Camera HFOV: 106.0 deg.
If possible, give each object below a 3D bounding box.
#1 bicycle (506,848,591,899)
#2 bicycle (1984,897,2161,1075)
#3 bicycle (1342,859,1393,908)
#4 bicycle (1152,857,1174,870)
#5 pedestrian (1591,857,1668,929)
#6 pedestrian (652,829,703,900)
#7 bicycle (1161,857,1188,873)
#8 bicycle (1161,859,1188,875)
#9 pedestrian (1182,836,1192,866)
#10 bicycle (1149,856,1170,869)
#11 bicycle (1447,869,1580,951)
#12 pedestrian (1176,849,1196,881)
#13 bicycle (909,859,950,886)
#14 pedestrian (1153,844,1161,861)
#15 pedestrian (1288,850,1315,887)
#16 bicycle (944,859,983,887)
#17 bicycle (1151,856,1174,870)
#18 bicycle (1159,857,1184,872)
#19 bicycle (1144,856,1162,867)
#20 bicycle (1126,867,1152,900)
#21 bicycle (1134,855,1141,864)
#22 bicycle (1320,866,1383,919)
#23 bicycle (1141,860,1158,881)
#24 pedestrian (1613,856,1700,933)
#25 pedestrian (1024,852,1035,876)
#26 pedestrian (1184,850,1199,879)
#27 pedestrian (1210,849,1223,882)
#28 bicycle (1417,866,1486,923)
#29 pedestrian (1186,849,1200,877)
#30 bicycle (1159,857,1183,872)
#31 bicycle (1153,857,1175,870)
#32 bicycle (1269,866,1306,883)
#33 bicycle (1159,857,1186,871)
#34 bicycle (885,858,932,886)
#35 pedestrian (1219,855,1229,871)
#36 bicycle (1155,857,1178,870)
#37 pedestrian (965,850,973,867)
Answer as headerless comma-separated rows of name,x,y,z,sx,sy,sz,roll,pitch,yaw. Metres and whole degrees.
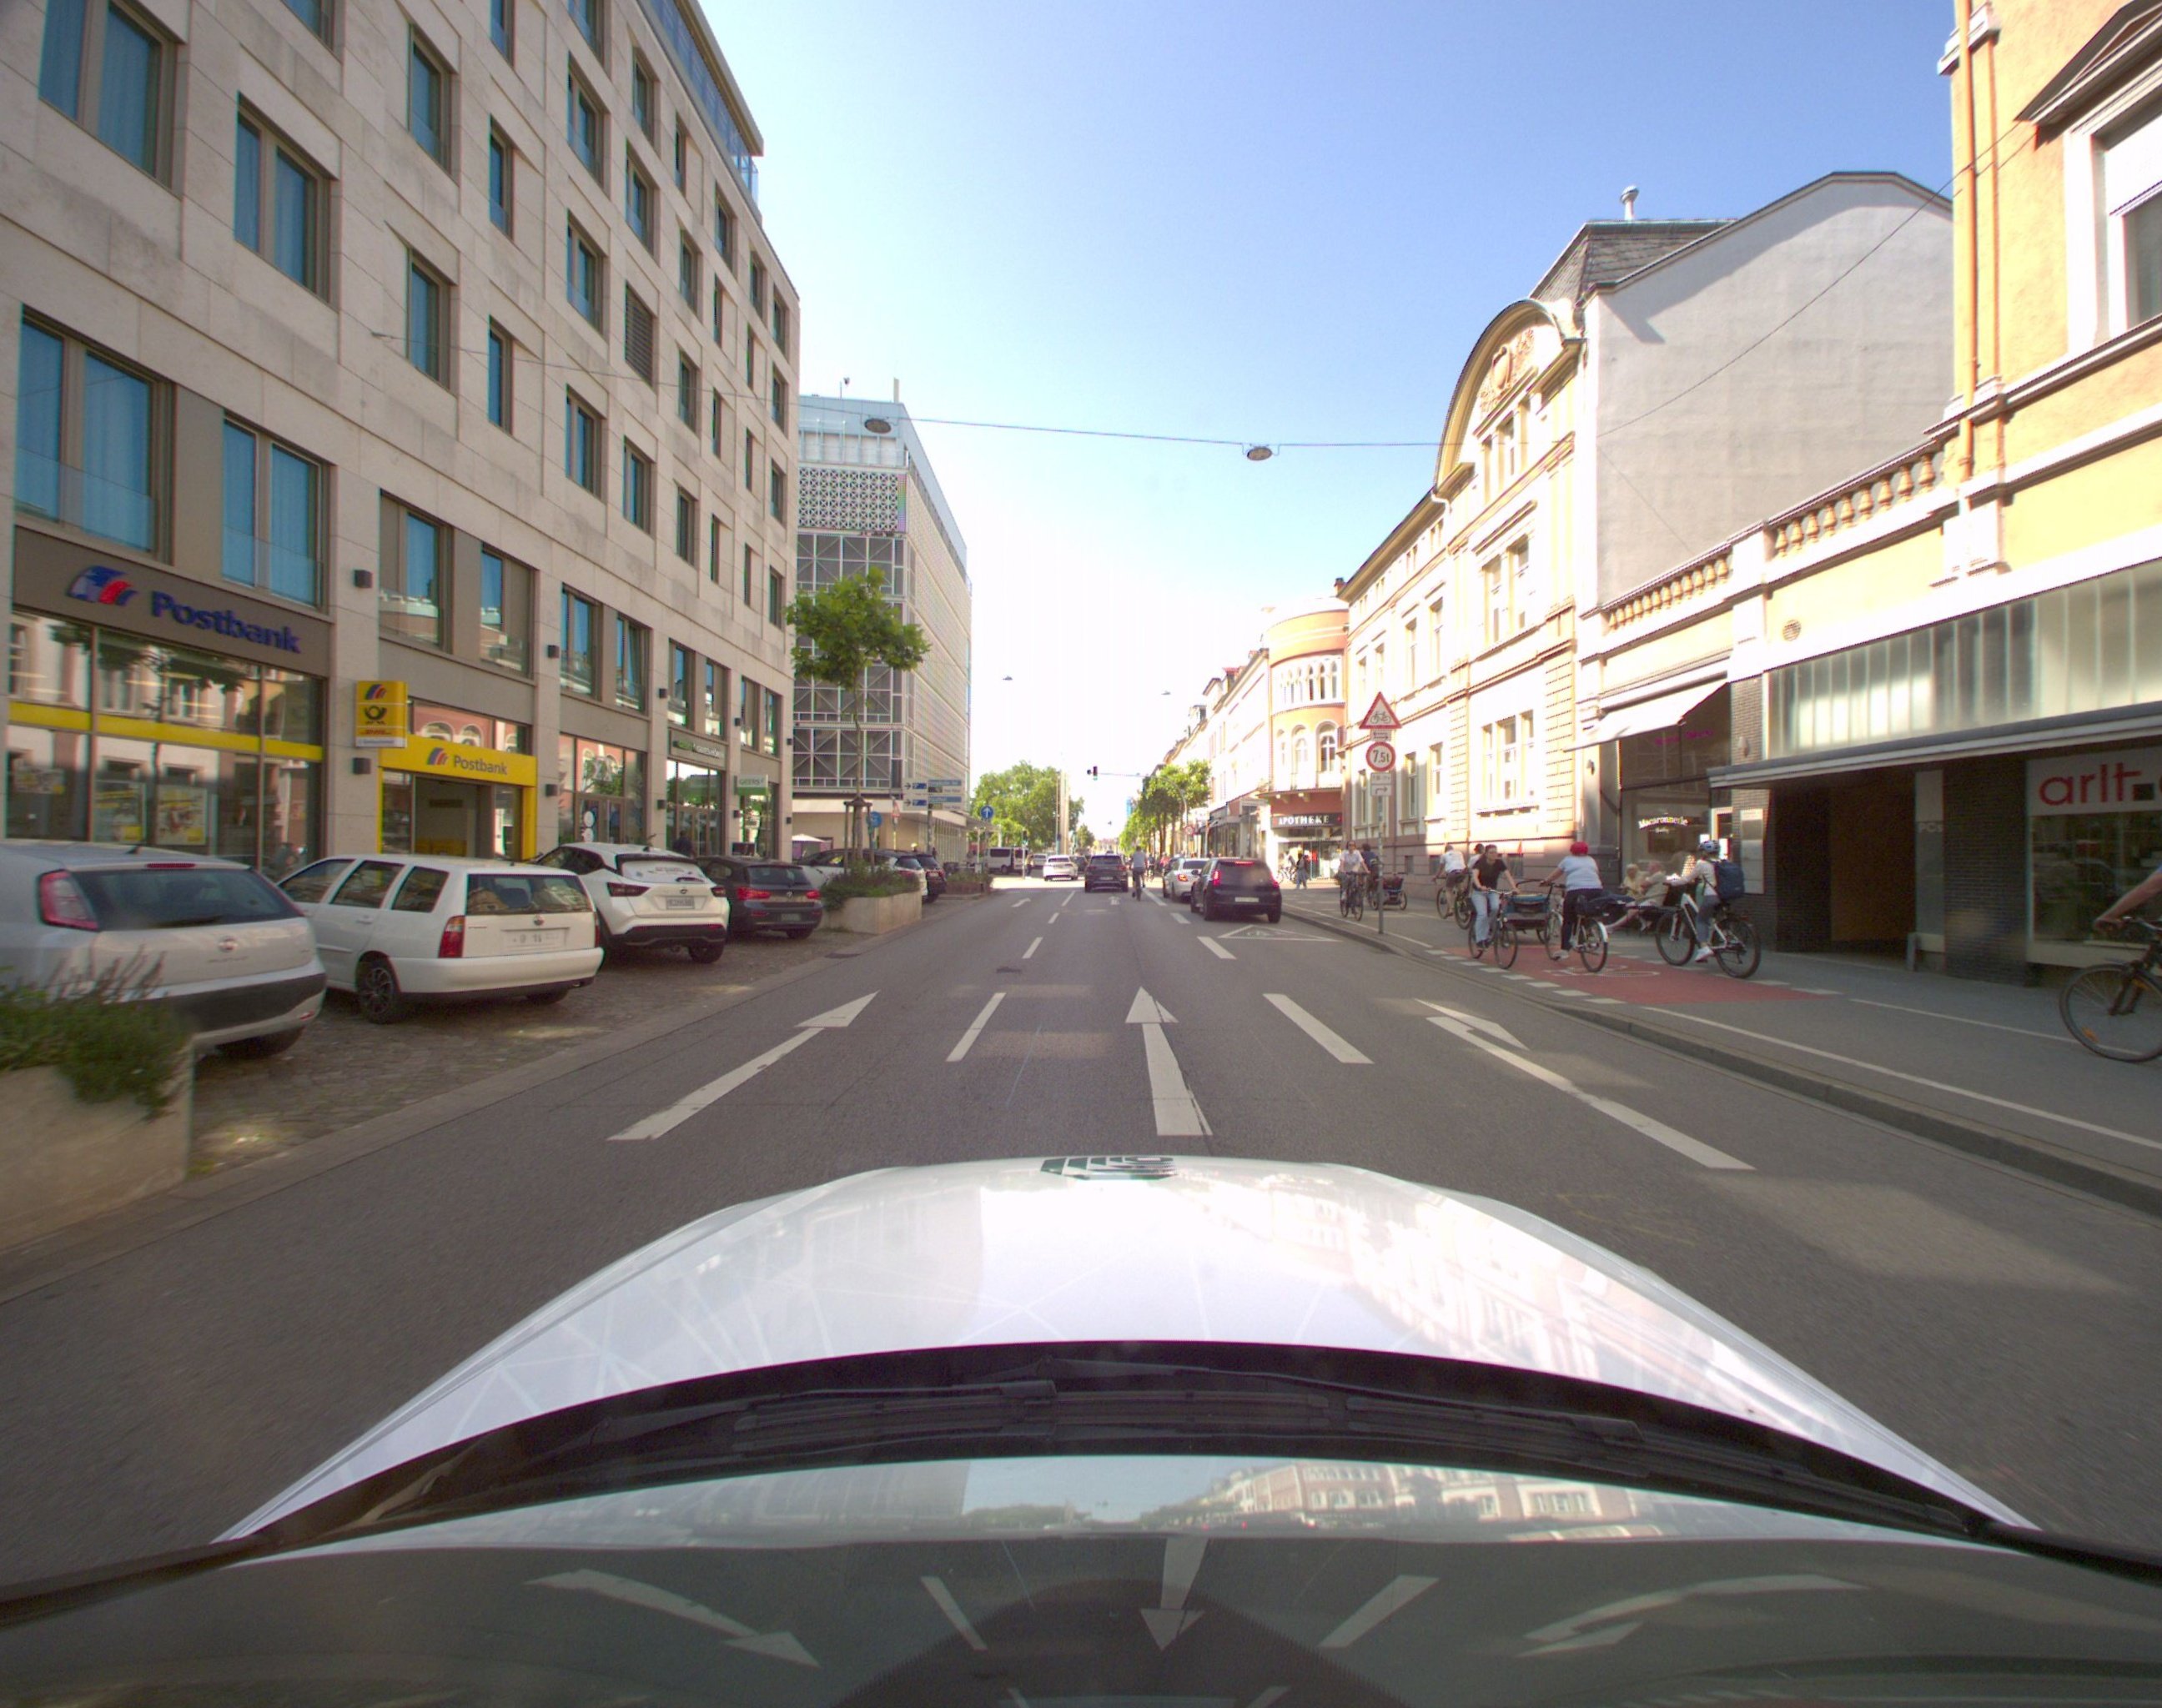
bicycle,-12.499,0.430,19.194,0.493,1.107,2.162,2,0,2
bicycle,7.483,0.903,5.485,0.659,1.118,1.993,-1,0,3
bicycle,8.094,0.802,23.090,0.729,1.268,2.284,1,1,3
bicycle,7.006,0.824,69.565,1.833,1.093,0.565,1,-1,1
pedestrian,10.421,0.730,15.490,1.026,1.316,0.625,-1,0,0
pedestrian,-11.215,0.296,22.675,0.835,1.879,0.845,4,-1,2
bicycle,6.576,0.753,57.369,1.832,1.127,0.667,0,-1,3
bicycle,6.549,0.925,56.806,1.829,1.127,0.668,0,-1,8
pedestrian,6.372,-0.179,48.854,0.451,1.795,0.608,1,0,-1
bicycle,7.376,0.797,76.229,1.838,1.127,0.496,2,1,-7
bicycle,7.408,0.899,14.197,0.745,1.127,3.243,-2,1,3
pedestrian,5.980,0.618,46.439,0.638,1.708,0.789,-12,-3,-3
bicycle,-6.717,0.809,36.025,2.038,1.169,0.609,-1,-1,38
pedestrian,7.735,-0.163,83.214,0.637,1.689,0.843,3,0,-1
pedestrian,9.915,0.646,36.719,0.897,1.612,0.976,-2,-3,0
bicycle,-5.139,0.814,35.529,0.608,1.173,2.039,2,-1,-44
bicycle,7.187,0.787,71.776,1.839,1.127,0.630,2,-1,-9
bicycle,6.747,0.787,60.792,1.832,1.127,0.667,0,-1,3
bicycle,7.513,0.785,85.324,1.827,1.127,0.499,2,-1,12
bicycle,1.899,0.944,26.976,0.771,1.006,2.331,0,0,2
bicycle,5.932,0.594,86.118,0.645,0.998,2.031,0,0,2
bicycle,6.338,0.872,19.261,0.738,1.127,2.575,-2,-1,3
bicycle,3.801,0.885,45.398,0.696,1.127,2.080,2,0,-1
pedestrian,10.445,0.726,14.814,1.082,1.316,0.625,-3,0,0
pedestrian,-3.310,0.643,52.332,0.639,1.559,0.678,2,0,-10
pedestrian,6.821,0.641,50.174,0.785,1.795,0.641,1,0,-1
pedestrian,7.835,0.664,47.184,0.634,1.843,0.617,2,-1,14
bicycle,8.215,0.867,18.144,0.569,1.127,2.078,-2,1,0
pedestrian,6.815,0.556,49.492,0.785,1.690,0.641,0,0,-1
bicycle,6.790,0.792,61.484,1.832,1.127,0.530,0,-1,3
bicycle,7.270,0.847,71.274,1.839,1.093,0.563,2,-1,-9
bicycle,10.834,1.074,42.743,1.814,0.844,0.501,0,0,2
bicycle,7.200,0.782,63.899,1.971,1.127,0.764,0,-1,14
bicycle,-7.399,0.761,34.895,2.038,1.127,0.651,1,0,28
pedestrian,11.071,0.702,63.124,0.679,1.253,0.531,-1,0,-1
bicycle,7.068,0.787,67.178,1.822,1.127,0.451,-1,-2,29
pedestrian,-10.318,0.385,75.254,0.677,1.559,0.640,0,0,-3
